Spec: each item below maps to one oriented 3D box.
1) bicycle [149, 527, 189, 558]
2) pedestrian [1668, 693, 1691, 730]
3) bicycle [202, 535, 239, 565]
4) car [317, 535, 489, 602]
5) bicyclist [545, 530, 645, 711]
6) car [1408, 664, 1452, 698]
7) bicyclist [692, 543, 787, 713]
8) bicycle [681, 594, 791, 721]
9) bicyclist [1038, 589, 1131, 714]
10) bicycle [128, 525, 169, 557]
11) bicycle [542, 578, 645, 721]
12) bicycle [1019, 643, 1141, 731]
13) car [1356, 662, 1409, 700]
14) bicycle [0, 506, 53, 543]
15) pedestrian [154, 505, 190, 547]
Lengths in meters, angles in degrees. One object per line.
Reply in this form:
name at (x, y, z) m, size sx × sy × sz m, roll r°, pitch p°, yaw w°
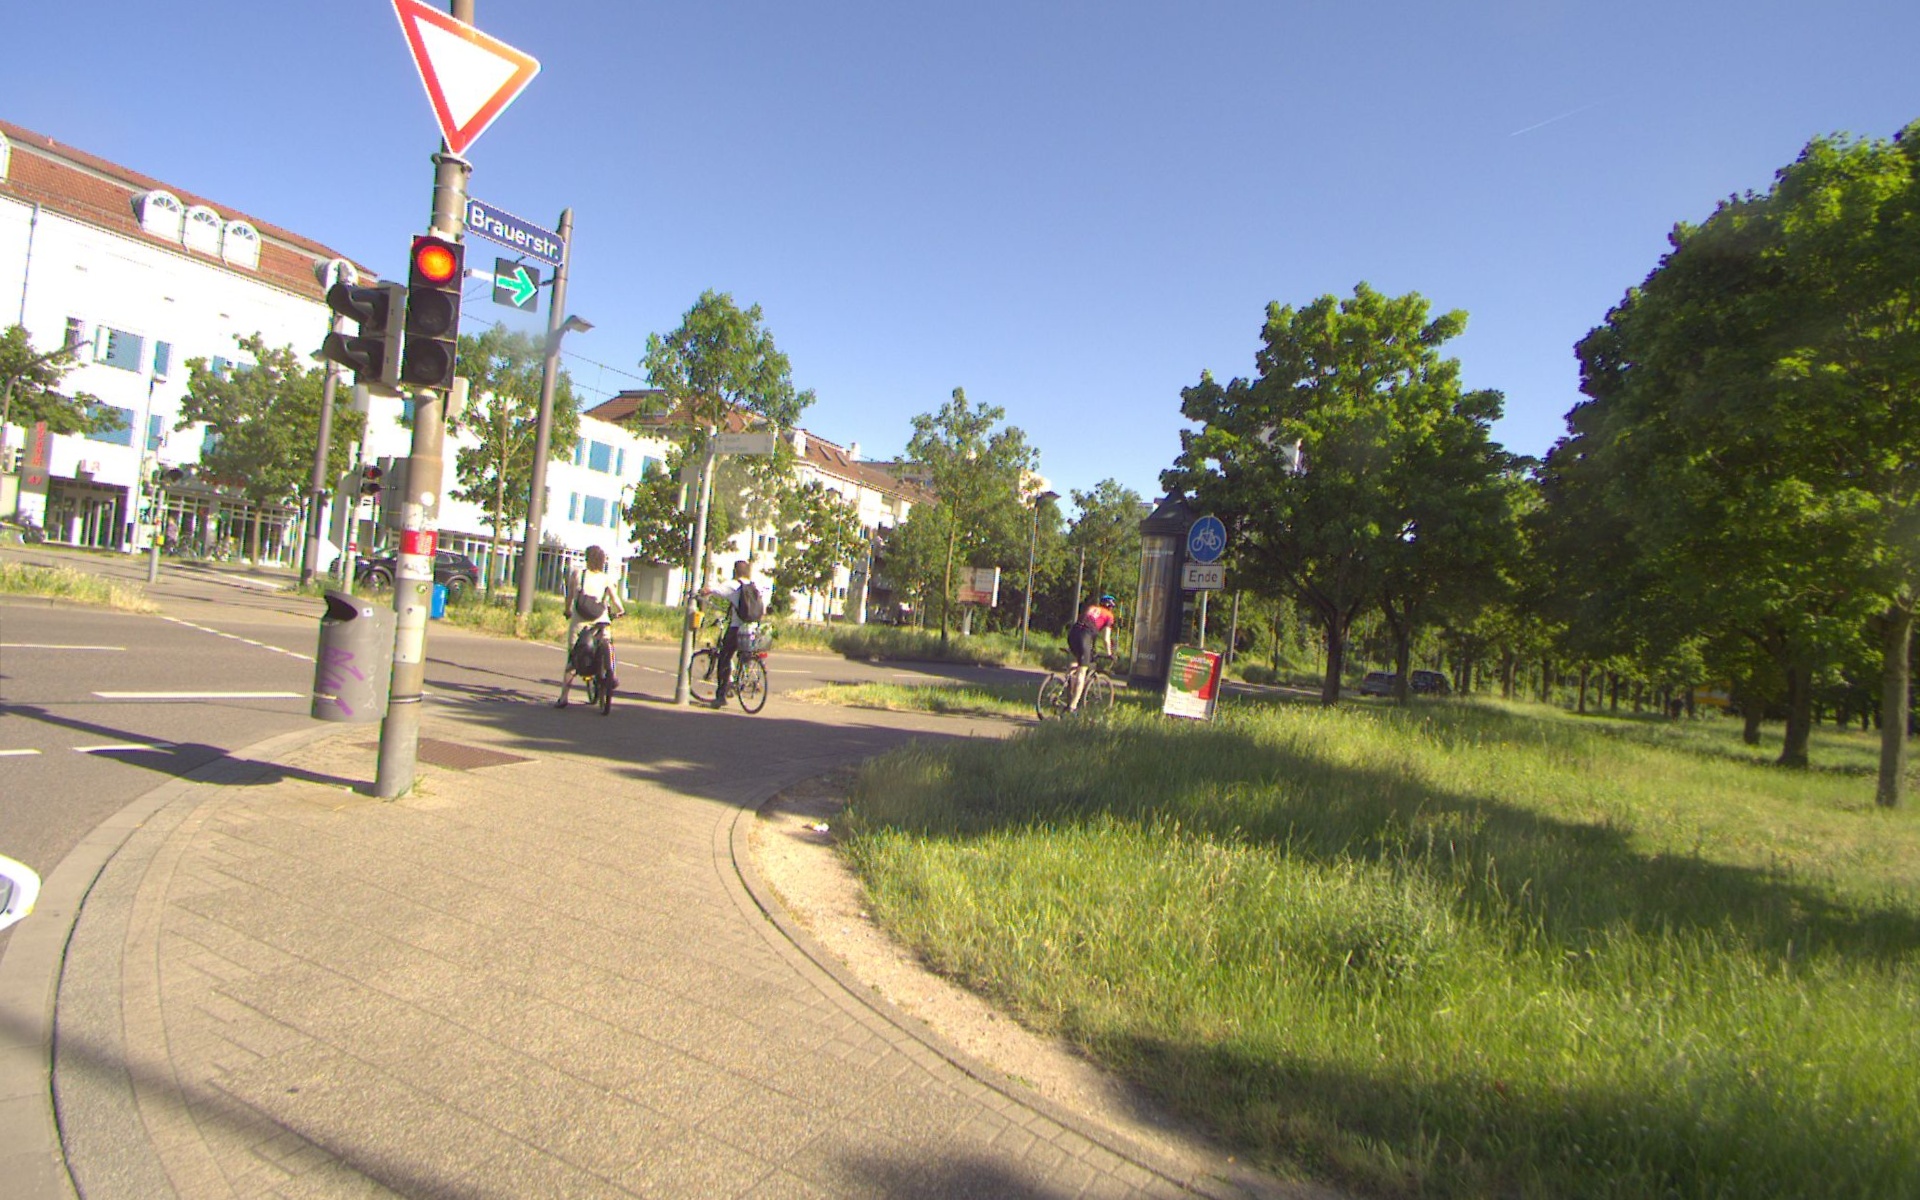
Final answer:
bicycle at (-35.090, -2.536, 44.625) m, size 1.836 × 1.197 × 0.561 m, roll 6°, pitch 0°, yaw 26°
pedestrian at (36.681, 5.665, 51.295) m, size 0.727 × 1.748 × 0.887 m, roll 6°, pitch 0°, yaw 31°
bicycle at (-33.890, -2.314, 46.110) m, size 1.837 × 1.197 × 0.561 m, roll 6°, pitch 0°, yaw 29°
car at (-18.373, -1.011, 33.374) m, size 1.969 × 1.629 × 4.502 m, roll 6°, pitch -1°, yaw 36°
bicyclist at (-4.060, 0.219, 11.133) m, size 0.783 × 1.847 × 1.129 m, roll 6°, pitch 0°, yaw -25°
car at (32.217, 5.567, 68.927) m, size 1.738 × 1.820 × 4.487 m, roll 5°, pitch -4°, yaw 37°
bicyclist at (-2.763, 0.341, 12.547) m, size 0.783 × 1.983 × 1.005 m, roll 6°, pitch 0°, yaw -25°
bicycle at (-2.868, 0.672, 12.683) m, size 0.783 × 1.364 × 2.249 m, roll 6°, pitch -1°, yaw -25°
bicyclist at (1.718, 0.720, 13.854) m, size 0.664 × 1.605 × 0.999 m, roll 6°, pitch 0°, yaw 43°
bicycle at (-35.227, -2.559, 43.682) m, size 1.836 × 1.197 × 0.561 m, roll 6°, pitch 0°, yaw 26°
bicycle at (-4.085, 0.495, 11.108) m, size 0.783 × 1.364 × 2.067 m, roll 6°, pitch 0°, yaw -25°
bicycle at (1.678, 1.213, 13.872) m, size 0.664 × 1.068 × 1.802 m, roll 6°, pitch -1°, yaw 42°
car at (22.150, 4.270, 52.659) m, size 1.667 × 1.594 × 3.865 m, roll 5°, pitch -4°, yaw 35°
bicycle at (-36.365, -2.925, 38.850) m, size 0.552 × 1.197 × 1.869 m, roll 6°, pitch -1°, yaw 23°
pedestrian at (-35.864, -3.376, 45.781) m, size 0.642 × 1.744 × 0.992 m, roll 6°, pitch 0°, yaw 26°
